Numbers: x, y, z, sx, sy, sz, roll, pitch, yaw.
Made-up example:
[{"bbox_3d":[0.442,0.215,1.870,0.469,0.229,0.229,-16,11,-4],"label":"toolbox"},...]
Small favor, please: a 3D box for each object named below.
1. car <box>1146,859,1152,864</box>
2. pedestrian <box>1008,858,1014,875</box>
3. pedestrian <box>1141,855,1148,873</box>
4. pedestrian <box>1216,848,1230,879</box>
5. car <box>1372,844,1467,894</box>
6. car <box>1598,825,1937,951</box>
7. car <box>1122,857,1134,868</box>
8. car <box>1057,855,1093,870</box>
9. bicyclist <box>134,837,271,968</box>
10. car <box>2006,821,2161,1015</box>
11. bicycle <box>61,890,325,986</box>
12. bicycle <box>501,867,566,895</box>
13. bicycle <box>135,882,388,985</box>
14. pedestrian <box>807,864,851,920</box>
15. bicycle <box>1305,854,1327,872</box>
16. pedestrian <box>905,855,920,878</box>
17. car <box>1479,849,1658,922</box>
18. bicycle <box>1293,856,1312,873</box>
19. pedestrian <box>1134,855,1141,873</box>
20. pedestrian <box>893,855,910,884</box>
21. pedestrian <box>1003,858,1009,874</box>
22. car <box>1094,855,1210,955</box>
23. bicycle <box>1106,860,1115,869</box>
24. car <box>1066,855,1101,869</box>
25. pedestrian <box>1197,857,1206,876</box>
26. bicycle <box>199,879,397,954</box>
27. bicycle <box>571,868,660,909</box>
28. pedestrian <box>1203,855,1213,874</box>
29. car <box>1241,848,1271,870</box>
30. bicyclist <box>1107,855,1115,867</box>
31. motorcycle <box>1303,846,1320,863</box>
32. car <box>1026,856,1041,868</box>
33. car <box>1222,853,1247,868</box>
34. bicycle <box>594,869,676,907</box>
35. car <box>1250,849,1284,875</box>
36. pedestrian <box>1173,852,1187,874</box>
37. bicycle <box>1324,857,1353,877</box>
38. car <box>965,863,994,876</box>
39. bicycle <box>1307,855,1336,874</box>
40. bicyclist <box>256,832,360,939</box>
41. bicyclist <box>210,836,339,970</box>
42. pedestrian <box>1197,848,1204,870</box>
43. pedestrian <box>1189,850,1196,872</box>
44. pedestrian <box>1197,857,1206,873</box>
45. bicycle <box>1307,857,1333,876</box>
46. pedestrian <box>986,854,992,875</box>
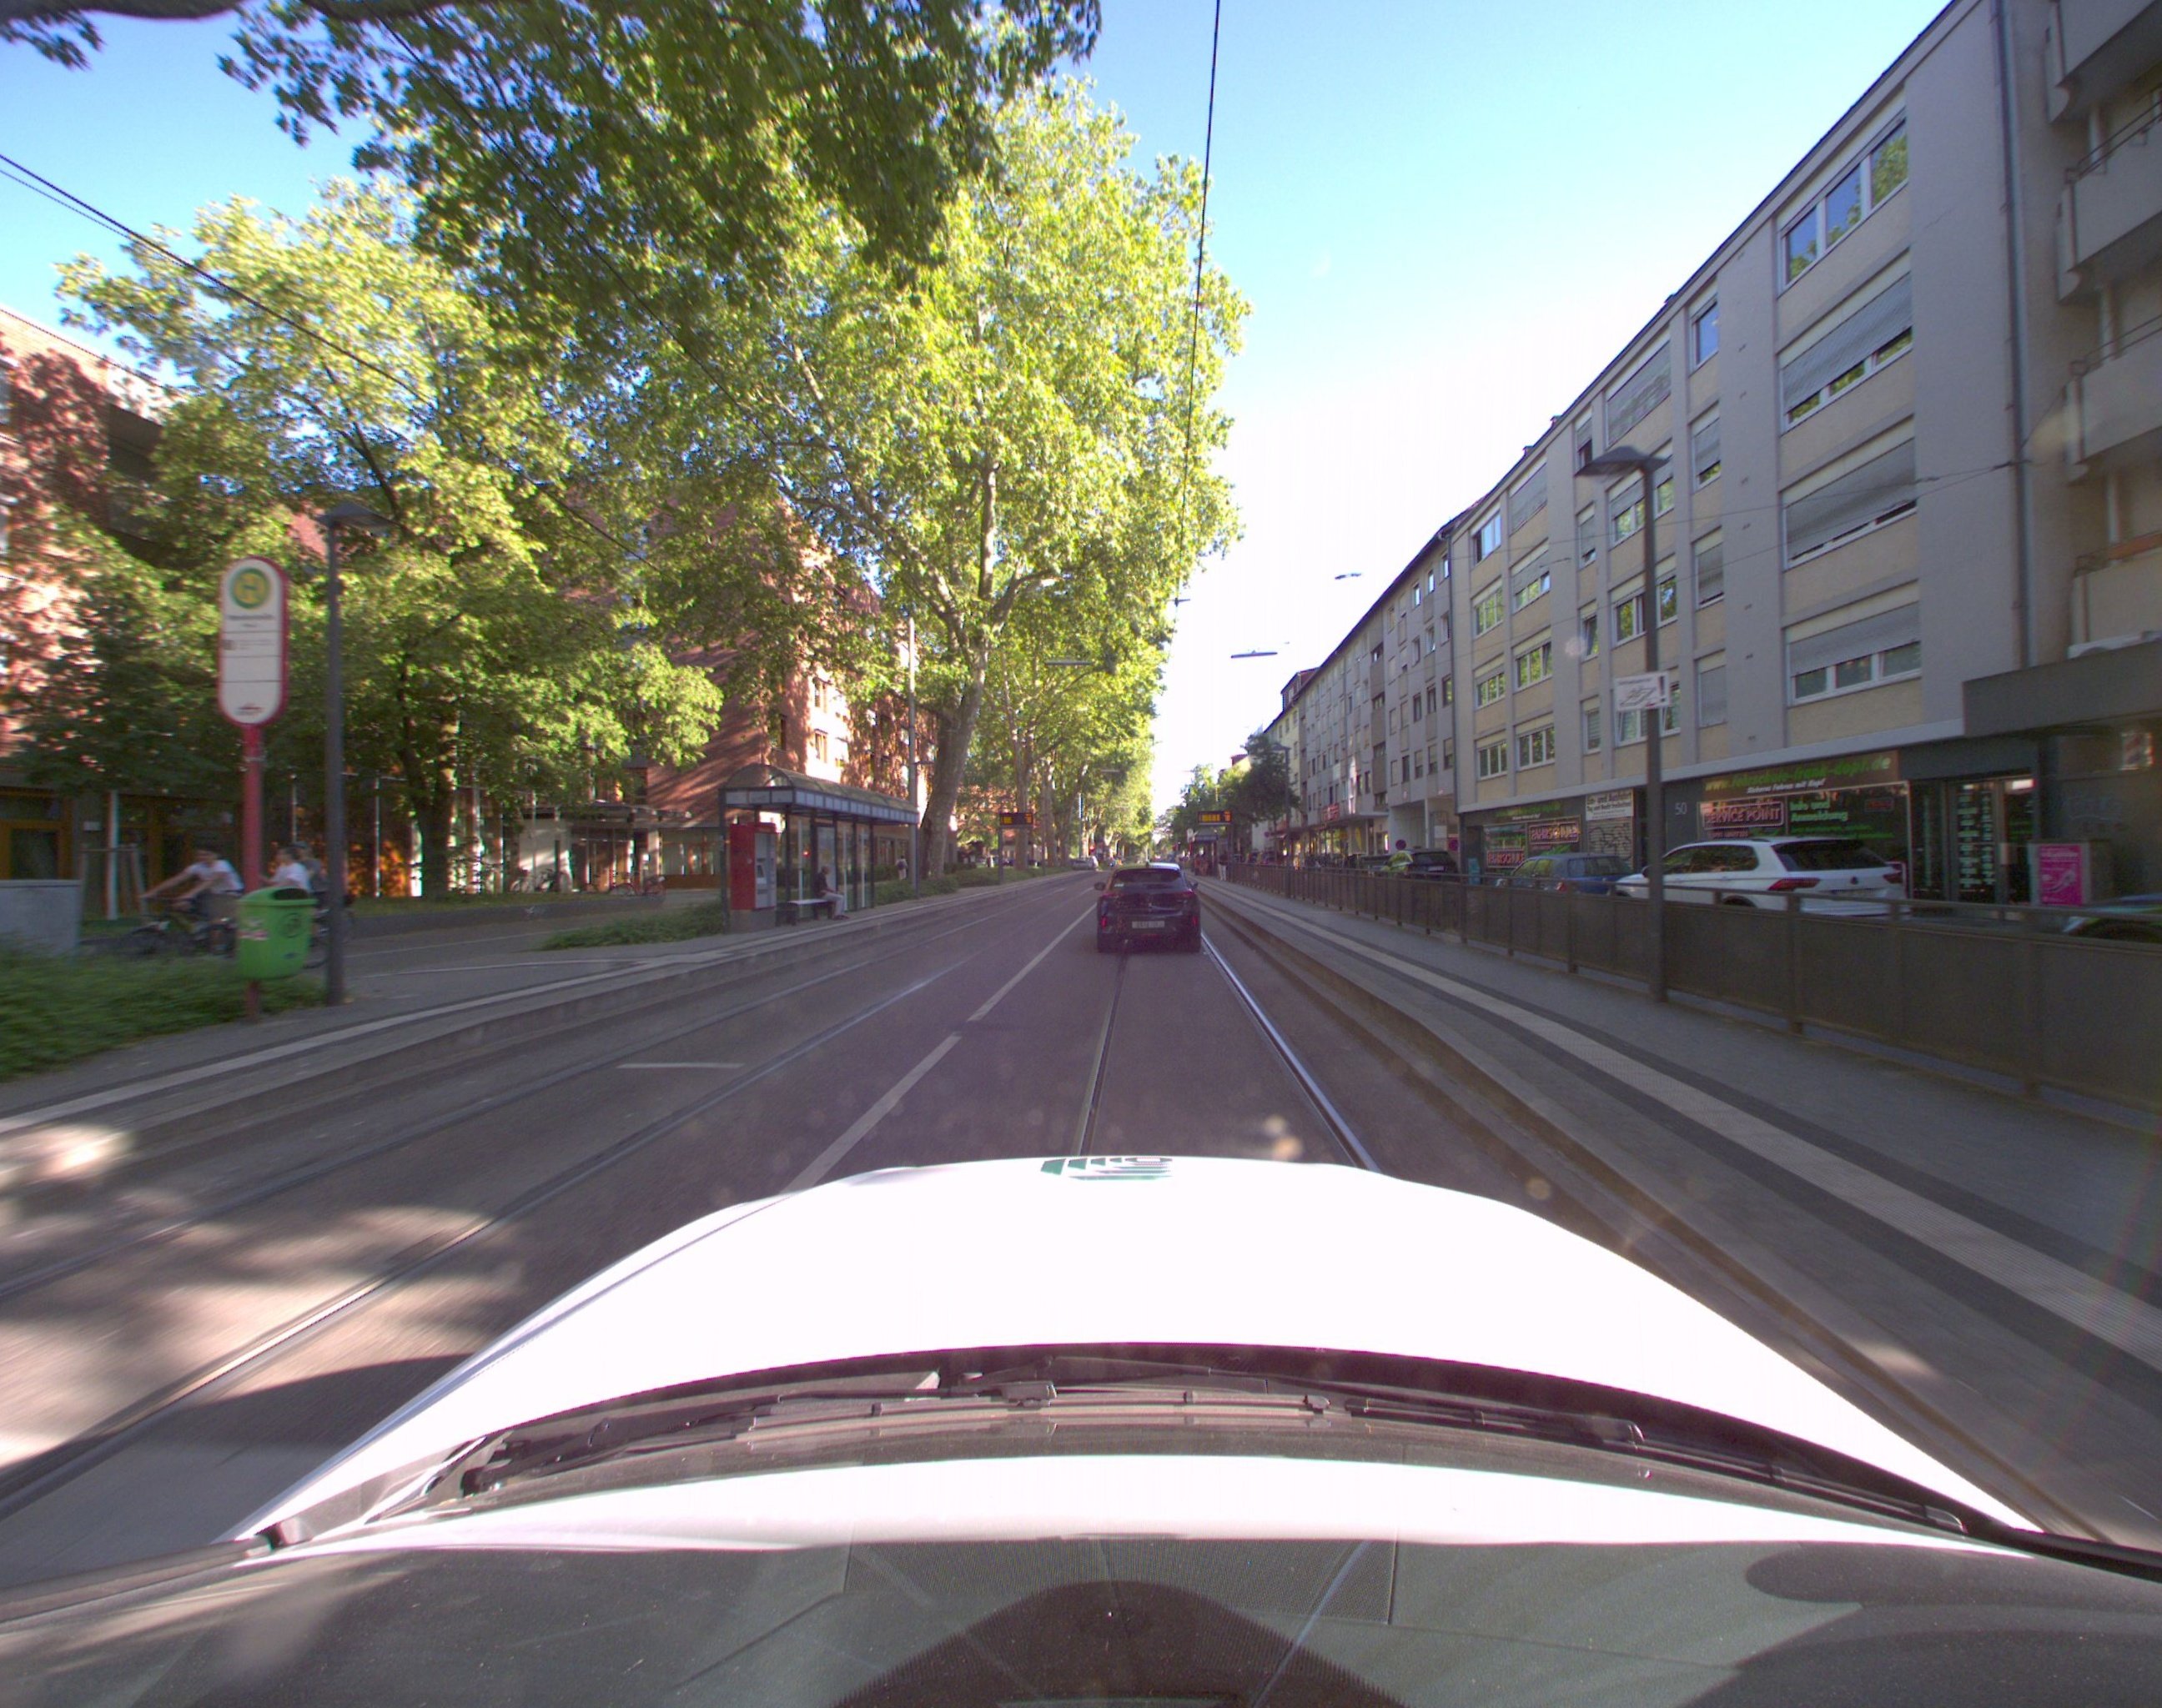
[{"bbox_3d":[20.990,2.386,251.403,1.738,1.544,4.003,0,-1,3],"label":"car"},{"bbox_3d":[-8.156,1.442,95.213,0.669,1.950,0.498,1,0,1],"label":"pedestrian"},{"bbox_3d":[7.576,1.182,96.840,0.670,2.013,0.704,1,0,16],"label":"pedestrian"},{"bbox_3d":[7.483,0.499,42.875,0.628,1.576,0.872,1,0,4],"label":"pedestrian"},{"bbox_3d":[11.809,0.518,28.741,1.848,1.615,4.403,0,-1,5],"label":"car"},{"bbox_3d":[10.206,0.466,12.668,1.791,1.606,4.420,0,-1,5],"label":"car"},{"bbox_3d":[6.889,1.283,119.582,1.738,1.544,4.003,0,-1,3],"label":"car"},{"bbox_3d":[-0.757,0.967,93.745,4.104,1.701,1.882,0,-1,-3],"label":"car"},{"bbox_3d":[-12.214,0.649,11.360,0.771,1.750,0.998,0,-1,2],"label":"bicyclist"},{"bbox_3d":[9.904,0.475,5.680,1.984,1.615,4.450,-3,-1,5],"label":"car"},{"bbox_3d":[-12.217,1.101,11.399,0.779,1.111,2.597,0,-1,2],"label":"bicycle"},{"bbox_3d":[-21.605,1.064,32.176,1.941,1.073,0.762,0,-1,-12],"label":"bicycle"},{"bbox_3d":[-11.057,1.016,11.188,0.779,1.191,2.597,0,-1,2],"label":"bicycle"},{"bbox_3d":[-5.414,0.802,17.545,0.702,1.168,0.660,-2,-1,1],"label":"pedestrian"},{"bbox_3d":[15.097,0.561,52.356,0.596,1.136,2.199,0,-1,-7],"label":"bicycle"},{"bbox_3d":[-12.104,0.889,58.477,0.771,1.605,0.947,0,-1,4],"label":"pedestrian"},{"bbox_3d":[10.691,0.659,18.261,1.736,1.440,4.252,0,-1,5],"label":"car"},{"bbox_3d":[14.909,0.685,54.892,0.595,1.136,2.202,0,-1,-1],"label":"bicycle"},{"bbox_3d":[6.762,1.182,96.941,0.671,2.013,0.703,1,0,10],"label":"pedestrian"},{"bbox_3d":[-10.507,0.924,47.620,0.732,1.672,0.862,0,-1,4],"label":"pedestrian"},{"bbox_3d":[-8.854,1.427,96.058,0.669,1.950,0.498,1,0,1],"label":"pedestrian"},{"bbox_3d":[1.177,0.820,14.446,1.753,1.508,3.685,-1,-1,2],"label":"car"},{"bbox_3d":[3.988,1.404,111.437,0.950,1.240,2.984,0,-1,8],"label":"bicycle"},{"bbox_3d":[0.280,1.037,105.271,4.374,1.851,1.998,0,-1,-3],"label":"car"},{"bbox_3d":[8.132,0.823,54.886,0.501,1.304,0.428,0,-1,0],"label":"pedestrian"},{"bbox_3d":[-13.145,1.000,13.840,0.779,1.111,2.597,0,-1,2],"label":"bicycle"},{"bbox_3d":[-14.841,1.084,25.987,2.446,1.219,0.683,1,-1,4],"label":"bicycle"},{"bbox_3d":[8.341,0.696,53.526,0.532,1.230,0.510,0,-1,0],"label":"pedestrian"},{"bbox_3d":[14.911,0.458,69.465,1.985,1.797,4.004,0,-1,4],"label":"car"},{"bbox_3d":[4.114,0.943,112.350,0.936,1.703,1.155,0,-1,7],"label":"bicyclist"},{"bbox_3d":[17.829,0.023,63.156,0.888,1.280,2.045,0,-1,5],"label":"motorcycle"},{"bbox_3d":[-8.064,1.394,138.677,1.984,2.014,4.005,0,-1,4],"label":"car"},{"bbox_3d":[15.375,0.647,81.723,1.984,1.486,4.005,0,-1,5],"label":"car"},{"bbox_3d":[-14.583,1.102,26.633,2.329,1.166,0.683,1,-1,4],"label":"bicycle"},{"bbox_3d":[14.331,0.649,62.980,1.985,1.952,4.004,0,-1,4],"label":"car"},{"bbox_3d":[7.537,0.677,61.965,0.742,1.709,0.768,-1,-1,39],"label":"pedestrian"},{"bbox_3d":[14.518,0.724,46.046,0.620,1.136,2.433,0,-1,-6],"label":"bicycle"},{"bbox_3d":[-16.351,2.529,130.934,4.231,2.014,2.002,0,-1,4],"label":"car"},{"bbox_3d":[14.721,0.649,49.884,0.610,1.136,2.914,0,-1,-6],"label":"bicycle"},{"bbox_3d":[-13.150,0.525,13.892,0.772,1.750,0.998,0,-1,1],"label":"bicyclist"},{"bbox_3d":[-11.056,0.645,11.199,0.779,1.763,0.951,0,-1,1],"label":"bicyclist"},{"bbox_3d":[9.785,0.435,66.739,0.528,1.763,0.662,0,-1,7],"label":"pedestrian"},{"bbox_3d":[9.034,0.559,65.925,0.528,1.709,0.753,0,-1,7],"label":"pedestrian"},{"bbox_3d":[8.022,0.737,54.170,0.532,1.099,0.551,0,-1,0],"label":"pedestrian"},{"bbox_3d":[14.229,0.733,48.539,0.602,1.136,2.429,0,-1,-6],"label":"bicycle"},{"bbox_3d":[-8.698,0.996,77.241,0.495,1.950,0.673,0,-1,-3],"label":"pedestrian"}]
